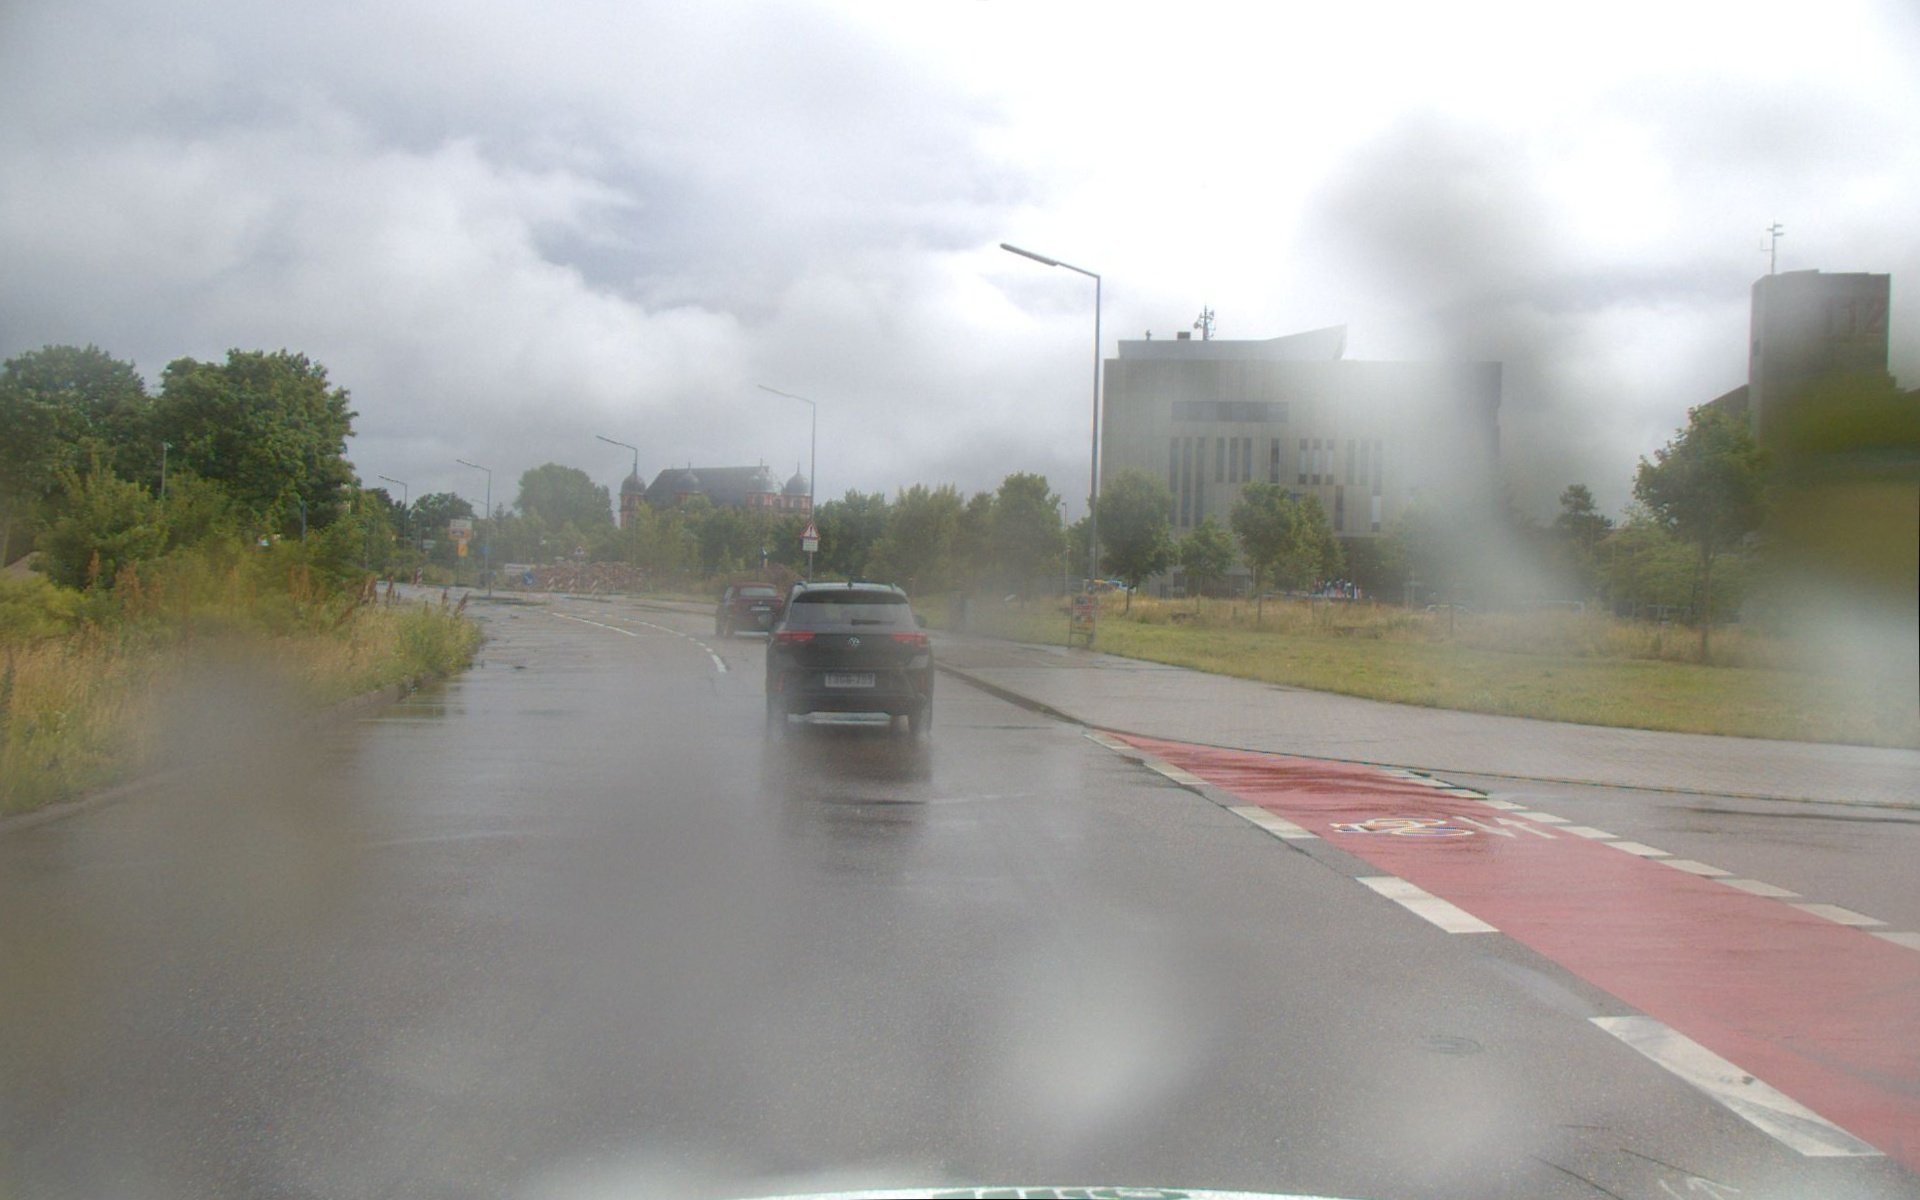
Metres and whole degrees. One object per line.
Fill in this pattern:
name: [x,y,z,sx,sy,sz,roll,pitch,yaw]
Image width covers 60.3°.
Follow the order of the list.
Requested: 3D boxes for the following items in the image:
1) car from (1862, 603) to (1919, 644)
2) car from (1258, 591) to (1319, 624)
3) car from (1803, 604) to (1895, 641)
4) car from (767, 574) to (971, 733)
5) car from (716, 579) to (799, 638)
car: [44.237,1.095,76.054,4.446,1.792,2.001,2,0,15]
car: [21.612,0.520,108.830,3.621,2.049,2.000,2,0,22]
car: [46.347,1.148,86.295,3.903,1.750,1.770,2,0,16]
car: [-1.130,0.513,18.558,1.949,1.546,3.993,1,1,-8]
car: [-5.440,0.198,44.063,1.809,1.467,3.987,-1,1,-13]
